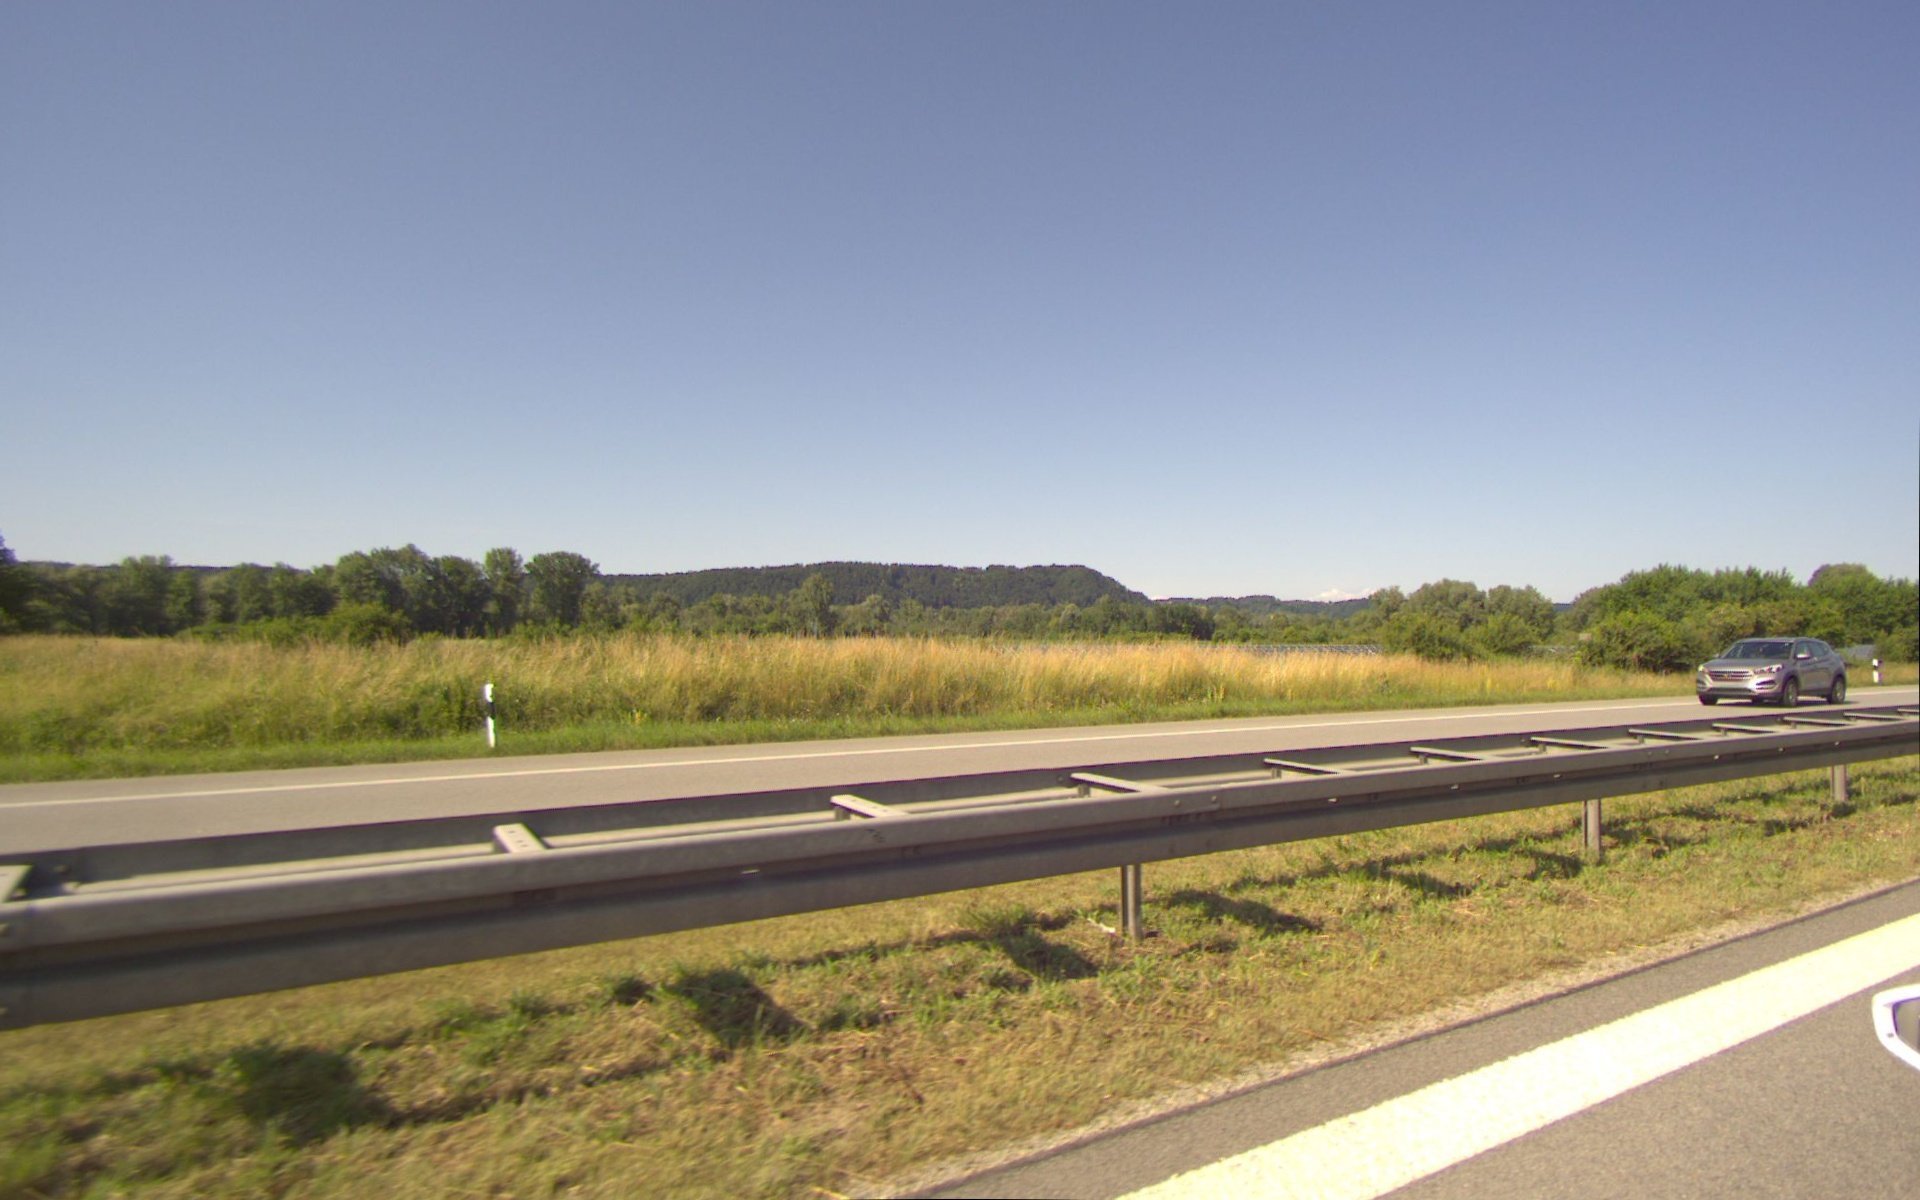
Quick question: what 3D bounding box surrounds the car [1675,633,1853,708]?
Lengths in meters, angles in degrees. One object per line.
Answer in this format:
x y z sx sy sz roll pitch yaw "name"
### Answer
19.896 1.698 24.825 4.676 1.705 1.893 2 -3 -30 "car"
